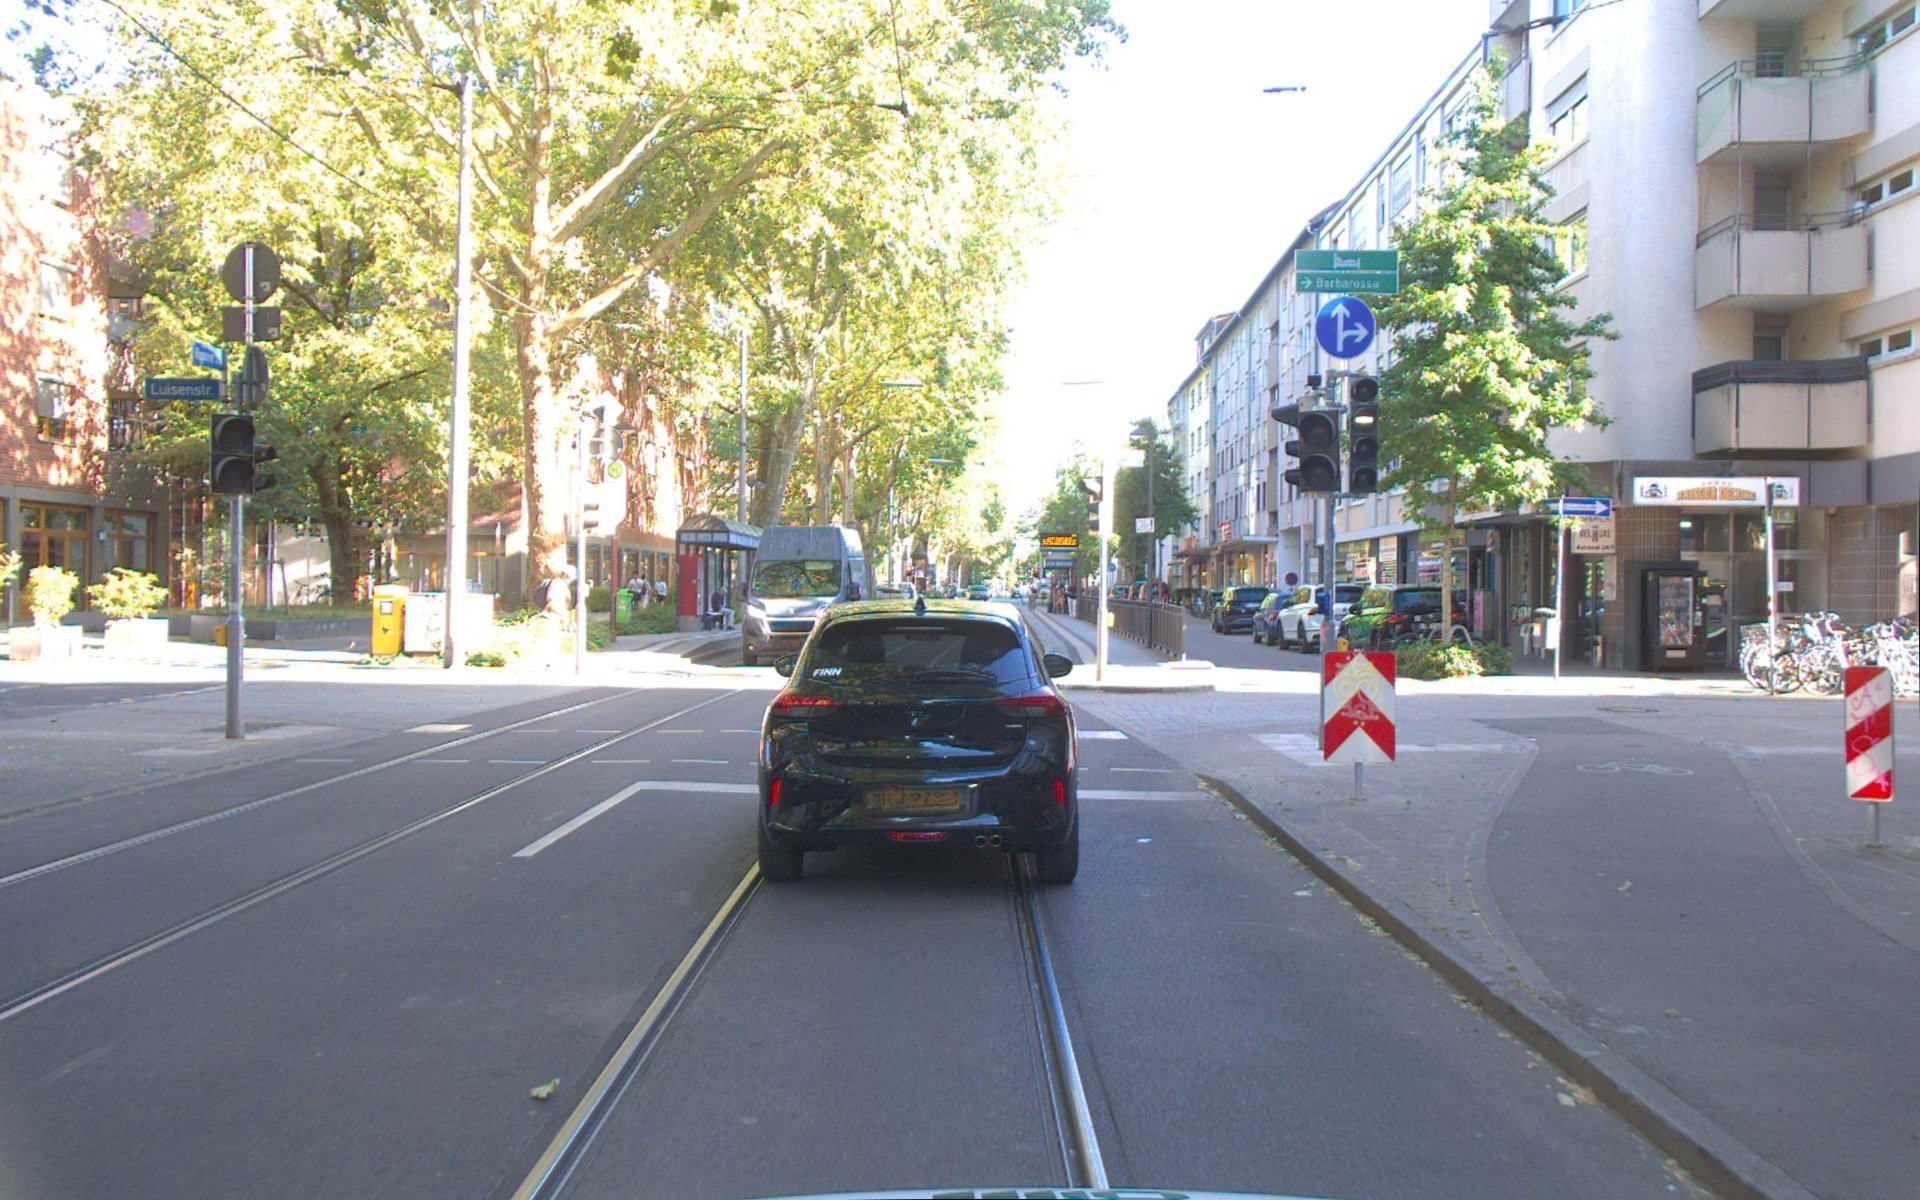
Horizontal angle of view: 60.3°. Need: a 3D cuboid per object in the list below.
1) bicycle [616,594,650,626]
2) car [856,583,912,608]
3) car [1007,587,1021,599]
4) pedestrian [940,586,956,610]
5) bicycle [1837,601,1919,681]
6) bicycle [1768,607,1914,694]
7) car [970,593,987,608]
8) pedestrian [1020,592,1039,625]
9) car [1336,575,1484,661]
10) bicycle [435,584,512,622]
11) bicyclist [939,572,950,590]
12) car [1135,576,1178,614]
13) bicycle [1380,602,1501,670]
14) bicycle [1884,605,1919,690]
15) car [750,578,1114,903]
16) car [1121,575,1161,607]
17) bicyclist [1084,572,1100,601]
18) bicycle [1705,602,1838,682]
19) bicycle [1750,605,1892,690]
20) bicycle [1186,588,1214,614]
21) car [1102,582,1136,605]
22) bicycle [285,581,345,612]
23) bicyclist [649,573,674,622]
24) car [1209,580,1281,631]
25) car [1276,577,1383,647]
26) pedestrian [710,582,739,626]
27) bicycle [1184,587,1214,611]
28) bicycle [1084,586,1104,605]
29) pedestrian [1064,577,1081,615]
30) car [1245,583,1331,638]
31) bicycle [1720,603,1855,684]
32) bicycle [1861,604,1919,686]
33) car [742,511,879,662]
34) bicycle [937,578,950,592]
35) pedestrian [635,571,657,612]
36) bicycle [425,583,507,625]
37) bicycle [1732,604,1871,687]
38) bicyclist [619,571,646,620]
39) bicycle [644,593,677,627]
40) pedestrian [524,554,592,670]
[{"bbox_3d":[-12.093,0.354,61.156,0.766,1.130,2.595,1,0,-1],"label":"bicycle"},{"bbox_3d":[-5.581,-0.346,121.528,4.034,1.730,1.881,1,0,-6],"label":"car"},{"bbox_3d":[7.532,-0.951,230.391,1.709,1.571,4.000,1,0,0],"label":"car"},{"bbox_3d":[-0.891,-0.129,123.295,1.141,1.779,0.957,1,0,-4],"label":"pedestrian"},{"bbox_3d":[14.864,0.653,26.023,1.875,1.229,0.511,1,-1,-3],"label":"bicycle"},{"bbox_3d":[12.819,0.725,24.094,1.875,1.228,0.511,0,1,-3],"label":"bicycle"},{"bbox_3d":[1.996,0.082,180.279,1.709,1.571,4.000,1,0,0],"label":"car"},{"bbox_3d":[3.807,0.464,90.505,0.737,1.739,0.760,1,0,36],"label":"pedestrian"},{"bbox_3d":[9.168,0.350,34.046,1.952,1.644,4.446,0,0,2],"label":"car"},{"bbox_3d":[-15.955,0.096,54.285,2.292,1.186,0.682,2,0,2],"label":"bicycle"},{"bbox_3d":[-1.561,-1.892,163.571,0.921,1.732,1.153,1,0,4],"label":"bicyclist"},{"bbox_3d":[10.879,-0.272,91.808,1.952,1.986,4.000,1,0,1],"label":"car"},{"bbox_3d":[8.921,0.662,30.794,2.081,1.208,0.681,1,0,10],"label":"bicycle"},{"bbox_3d":[14.906,0.717,24.748,1.875,1.228,0.511,1,1,-3],"label":"bicycle"},{"bbox_3d":[-0.149,0.666,9.691,1.724,1.534,3.682,0,0,-1],"label":"car"},{"bbox_3d":[10.705,-0.501,98.223,1.952,1.829,4.000,1,0,1],"label":"car"},{"bbox_3d":[8.432,-0.859,105.505,0.844,1.790,1.052,1,0,-5],"label":"bicyclist"},{"bbox_3d":[12.880,0.660,26.260,1.875,1.229,0.511,1,0,-3],"label":"bicycle"},{"bbox_3d":[12.808,0.704,24.625,1.875,1.228,0.511,0,1,-3],"label":"bicycle"},{"bbox_3d":[11.188,0.036,77.153,0.610,1.156,2.434,1,0,-9],"label":"bicycle"},{"bbox_3d":[10.627,-0.433,110.593,1.952,1.512,4.001,1,0,2],"label":"car"},{"bbox_3d":[-23.161,-0.126,59.407,1.907,1.092,0.762,1,0,-15],"label":"bicycle"},{"bbox_3d":[-11.087,-0.102,61.448,0.766,1.794,0.951,1,0,-1],"label":"bicyclist"},{"bbox_3d":[9.843,0.185,57.384,1.818,1.644,4.398,1,0,2],"label":"car"},{"bbox_3d":[9.144,0.284,41.258,1.762,1.634,4.416,1,0,2],"label":"car"},{"bbox_3d":[-6.475,0.109,45.476,0.691,1.189,0.659,-1,0,-2],"label":"pedestrian"},{"bbox_3d":[11.790,-0.048,81.734,0.600,1.156,2.915,1,0,-9],"label":"bicycle"},{"bbox_3d":[8.473,-0.303,104.831,0.844,1.156,2.394,1,0,-5],"label":"bicycle"},{"bbox_3d":[4.864,-0.169,71.363,0.618,1.603,0.871,3,0,2],"label":"pedestrian"},{"bbox_3d":[9.240,0.291,46.893,1.708,1.465,4.248,1,0,2],"label":"car"},{"bbox_3d":[12.856,0.664,25.715,1.875,1.229,0.511,0,0,-3],"label":"bicycle"},{"bbox_3d":[14.880,0.698,25.359,1.875,1.229,0.511,1,0,-3],"label":"bicycle"},{"bbox_3d":[-2.940,-0.244,33.901,2.070,2.786,6.116,-1,0,1],"label":"car"},{"bbox_3d":[-1.637,-1.454,162.660,0.935,1.262,2.979,1,0,5],"label":"bicycle"},{"bbox_3d":[-13.103,-0.362,69.052,0.720,1.701,0.861,1,0,2],"label":"pedestrian"},{"bbox_3d":[-16.073,0.135,53.833,2.407,1.240,0.682,2,0,2],"label":"bicycle"},{"bbox_3d":[12.798,0.684,25.160,1.875,1.229,0.511,0,1,-3],"label":"bicycle"},{"bbox_3d":[-12.102,-0.158,61.136,0.759,1.780,0.997,1,0,-1],"label":"bicyclist"},{"bbox_3d":[-11.106,0.370,61.443,0.766,1.212,2.595,1,0,-1],"label":"bicycle"},{"bbox_3d":[-6.705,0.188,27.622,0.905,1.867,0.920,1,2,-2],"label":"pedestrian"}]
